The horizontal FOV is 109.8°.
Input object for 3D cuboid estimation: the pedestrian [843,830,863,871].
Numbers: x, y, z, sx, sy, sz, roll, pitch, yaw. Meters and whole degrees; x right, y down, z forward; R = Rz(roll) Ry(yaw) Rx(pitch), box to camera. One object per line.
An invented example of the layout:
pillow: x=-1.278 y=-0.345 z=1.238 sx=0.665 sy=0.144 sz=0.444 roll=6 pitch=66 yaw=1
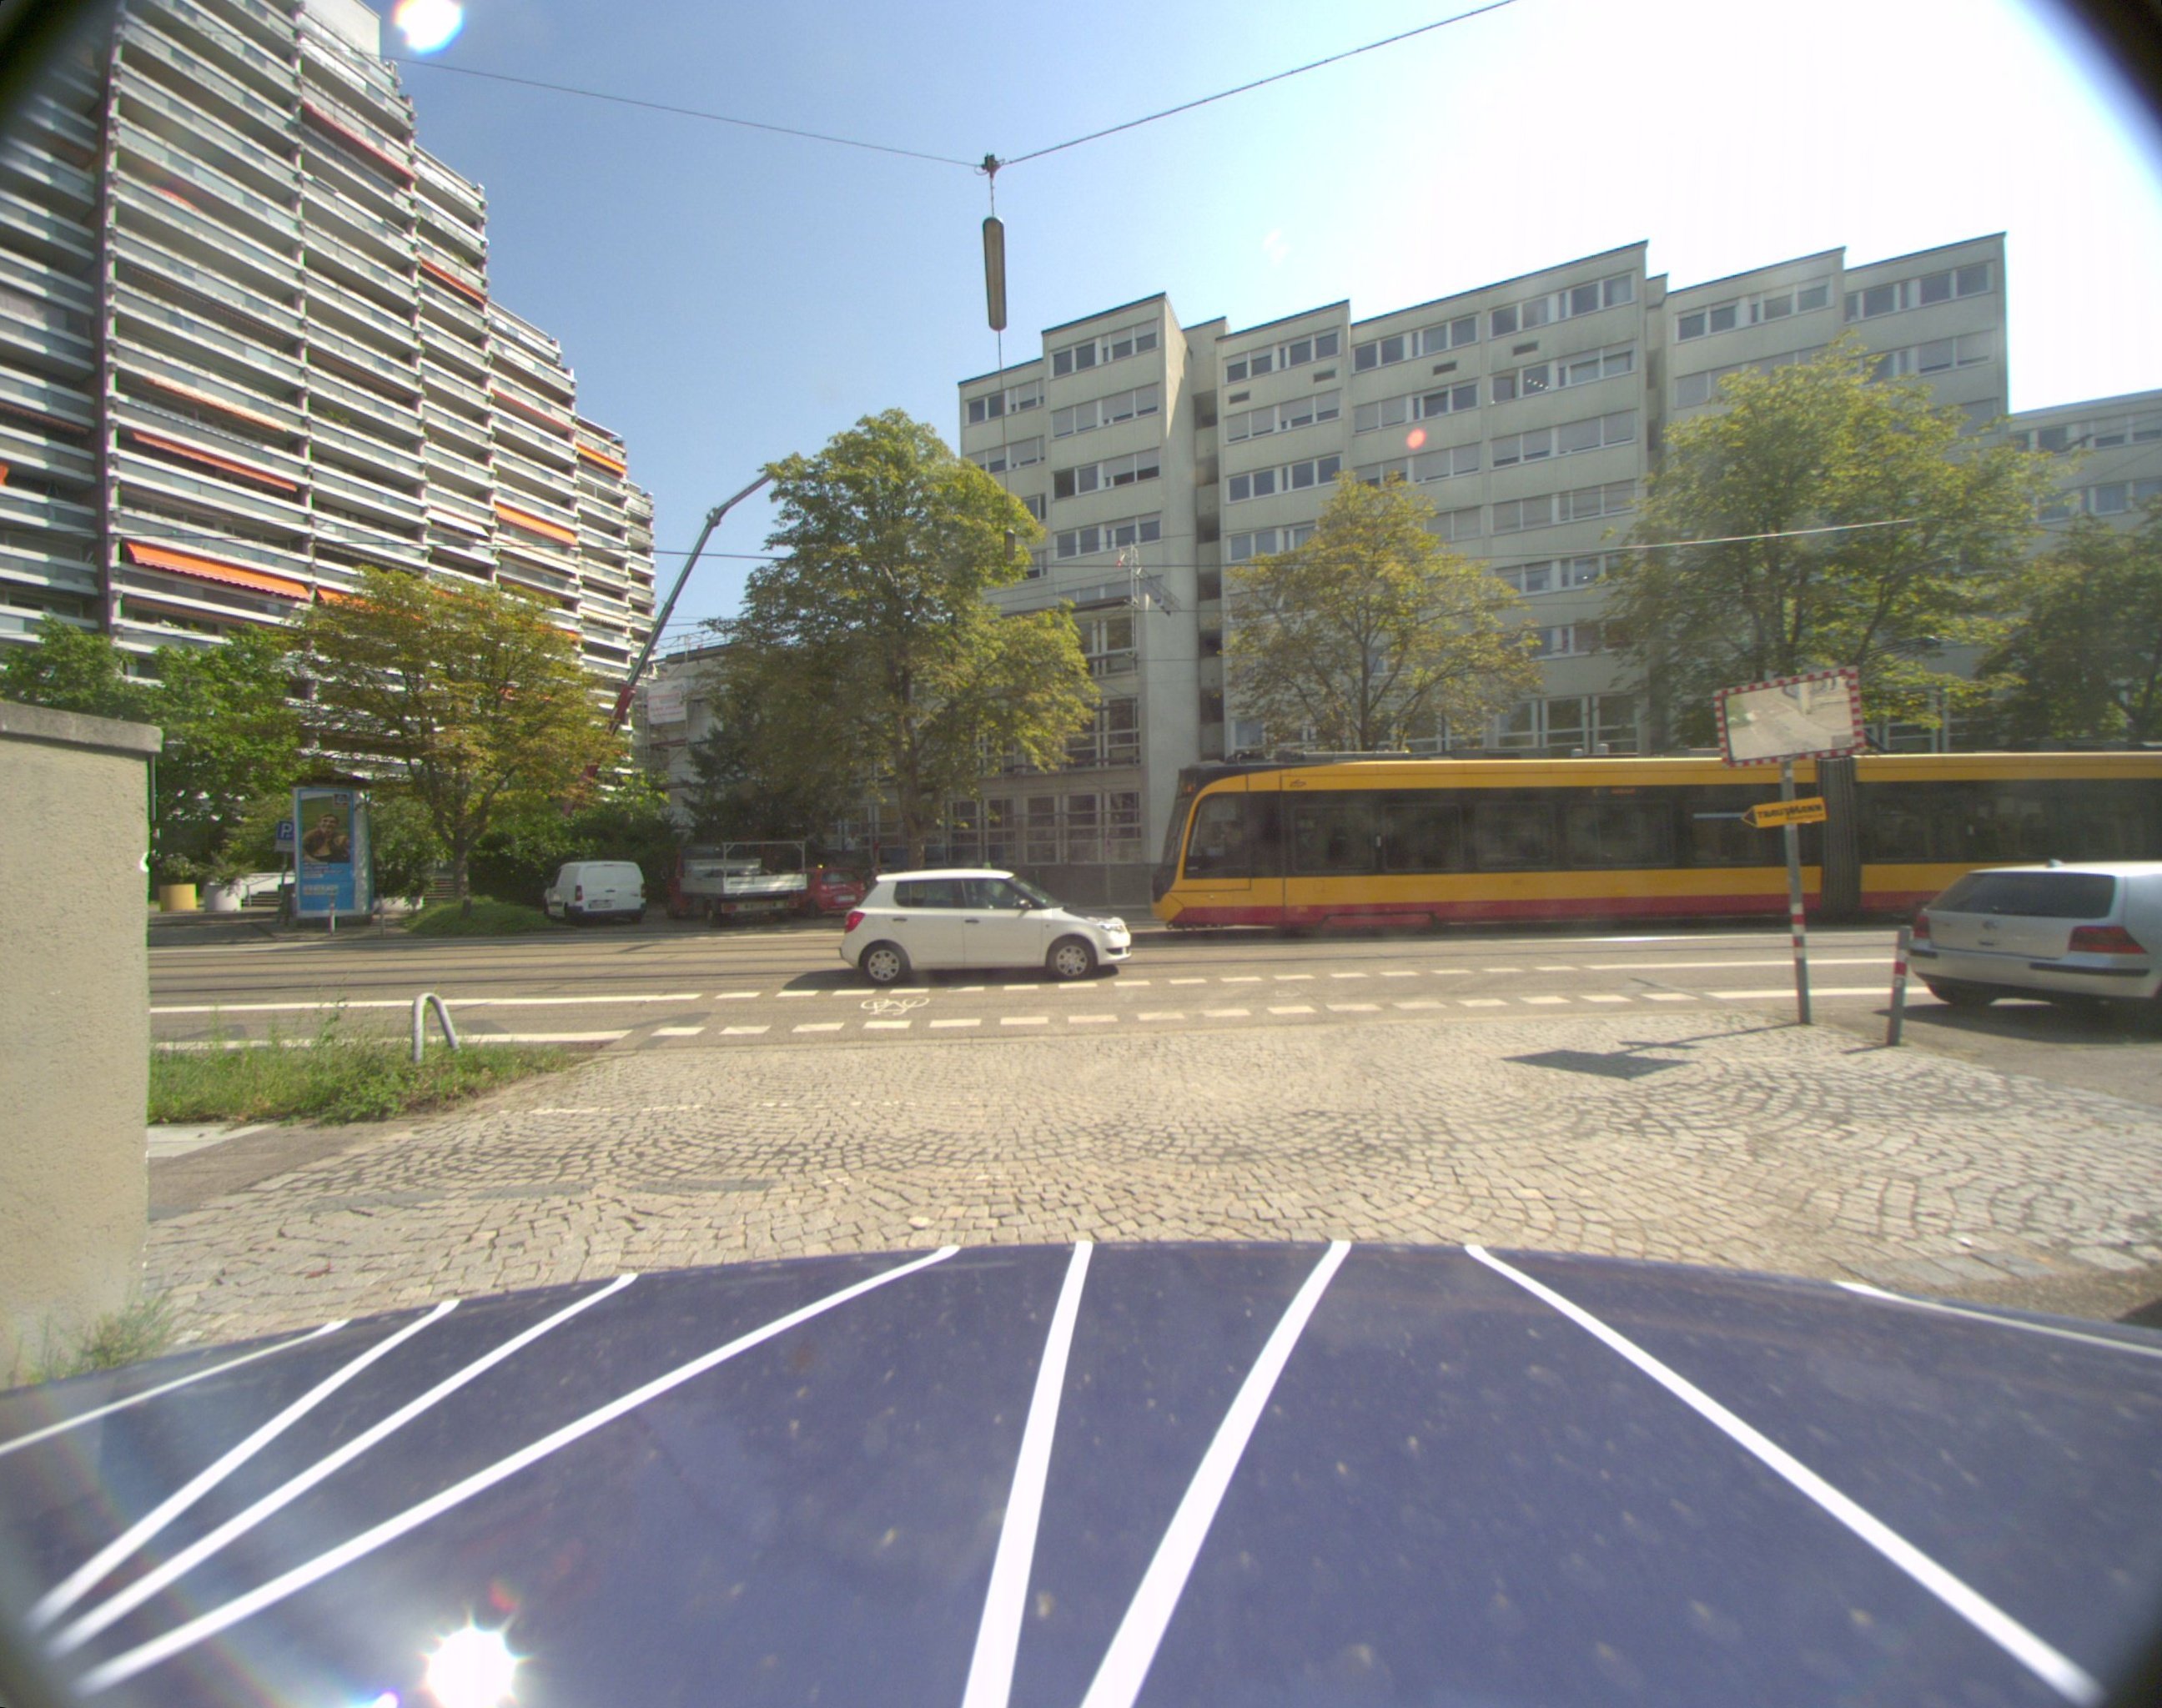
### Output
pedestrian: x=-10.022 y=-0.149 z=33.425 sx=0.741 sy=1.777 sz=0.828 roll=-2 pitch=0 yaw=-21

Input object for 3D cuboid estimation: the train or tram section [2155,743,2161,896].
train or tram section: x=32.412 y=-1.002 z=17.084 sx=12.406 sy=3.683 sz=3.507 roll=-2 pitch=1 yaw=-3

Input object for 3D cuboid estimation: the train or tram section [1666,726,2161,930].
train or tram section: x=19.982 y=-0.606 z=16.357 sx=12.406 sy=3.683 sz=3.507 roll=-2 pitch=1 yaw=-3

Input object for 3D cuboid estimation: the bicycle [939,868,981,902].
bicycle: x=-4.648 y=1.160 z=29.324 sx=0.601 sy=1.153 sz=2.348 roll=0 pitch=2 yaw=17

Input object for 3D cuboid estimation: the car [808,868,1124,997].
car: x=-1.505 y=1.025 z=10.731 sx=4.017 sy=1.484 sz=1.824 roll=-1 pitch=2 yaw=-3

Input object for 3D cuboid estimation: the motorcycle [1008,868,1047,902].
motorcycle: x=-1.999 y=1.147 z=28.630 sx=0.742 sy=1.148 sz=2.008 roll=0 pitch=2 yaw=17

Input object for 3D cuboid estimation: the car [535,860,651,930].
car: x=-14.007 y=1.103 z=21.723 sx=4.273 sy=1.761 sz=1.829 roll=-1 pitch=0 yaw=44

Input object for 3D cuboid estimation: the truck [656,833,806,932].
truck: x=-10.022 y=0.741 z=21.438 sx=2.155 sy=2.420 sz=5.953 roll=-1 pitch=0 yaw=-42

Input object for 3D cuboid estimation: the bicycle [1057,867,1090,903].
bicycle: x=-0.258 y=1.115 z=27.995 sx=0.621 sy=1.162 sz=2.348 roll=-1 pitch=2 yaw=14

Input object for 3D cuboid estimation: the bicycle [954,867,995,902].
bicycle: x=-4.045 y=1.140 z=29.136 sx=0.601 sy=1.153 sz=2.348 roll=0 pitch=2 yaw=17

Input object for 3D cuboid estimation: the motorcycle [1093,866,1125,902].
motorcycle: x=1.045 y=1.071 z=27.775 sx=0.694 sy=1.176 sz=1.847 roll=0 pitch=2 yaw=17

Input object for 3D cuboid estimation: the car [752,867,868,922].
car: x=-8.198 y=1.158 z=22.811 sx=3.849 sy=1.499 sz=1.724 roll=-1 pitch=0 yaw=44

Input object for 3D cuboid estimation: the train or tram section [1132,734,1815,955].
train or tram section: x=7.478 y=-0.227 z=15.653 sx=12.406 sy=3.683 sz=3.507 roll=-2 pitch=1 yaw=-3

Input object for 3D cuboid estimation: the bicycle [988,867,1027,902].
bicycle: x=-2.749 y=1.122 z=28.738 sx=0.601 sy=1.162 sz=2.348 roll=0 pitch=2 yaw=17

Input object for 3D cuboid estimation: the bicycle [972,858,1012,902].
bicycle: x=-3.355 y=0.952 z=28.925 sx=0.601 sy=1.517 sz=2.348 roll=0 pitch=2 yaw=17

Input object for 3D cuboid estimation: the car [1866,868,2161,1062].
car: x=9.796 y=0.866 z=6.778 sx=3.730 sy=1.437 sz=1.797 roll=-1 pitch=-1 yaw=-1

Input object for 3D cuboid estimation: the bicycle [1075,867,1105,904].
bicycle: x=0.343 y=1.120 z=27.843 sx=0.561 sy=1.162 sz=2.348 roll=-1 pitch=2 yaw=14

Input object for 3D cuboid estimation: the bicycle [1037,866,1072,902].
bicycle: x=-0.965 y=1.096 z=28.152 sx=0.621 sy=1.162 sz=2.348 roll=0 pitch=2 yaw=15
